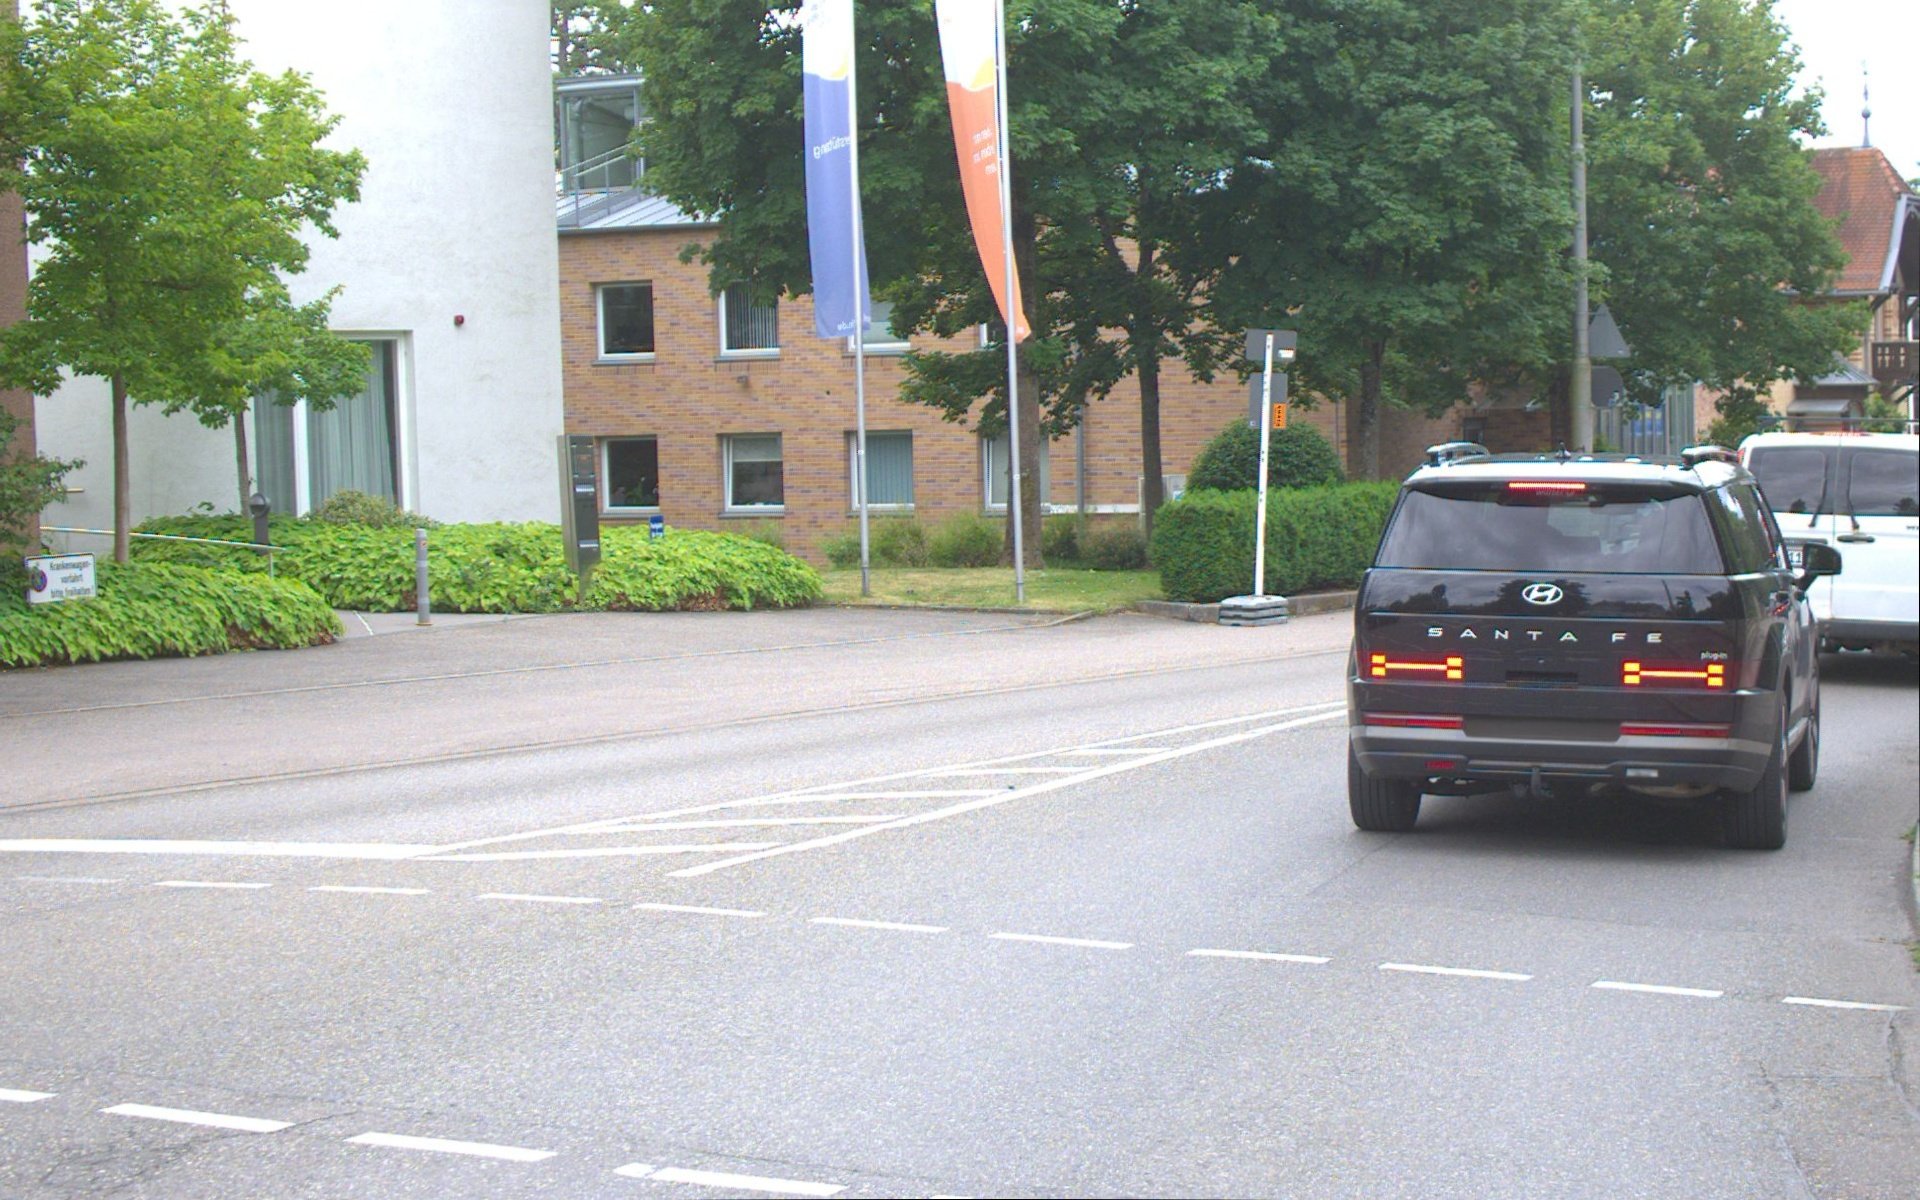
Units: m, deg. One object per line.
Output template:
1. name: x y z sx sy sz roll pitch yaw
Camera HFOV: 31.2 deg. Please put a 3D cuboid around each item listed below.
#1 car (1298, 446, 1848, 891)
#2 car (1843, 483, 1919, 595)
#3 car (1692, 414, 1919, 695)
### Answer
1. car: 3.027 0.179 16.224 1.959 1.706 4.220 3 4 17
2. car: 13.412 -0.881 46.954 1.698 1.435 3.751 -2 1 29
3. car: 7.351 -0.379 27.238 1.960 1.949 4.217 6 4 25
